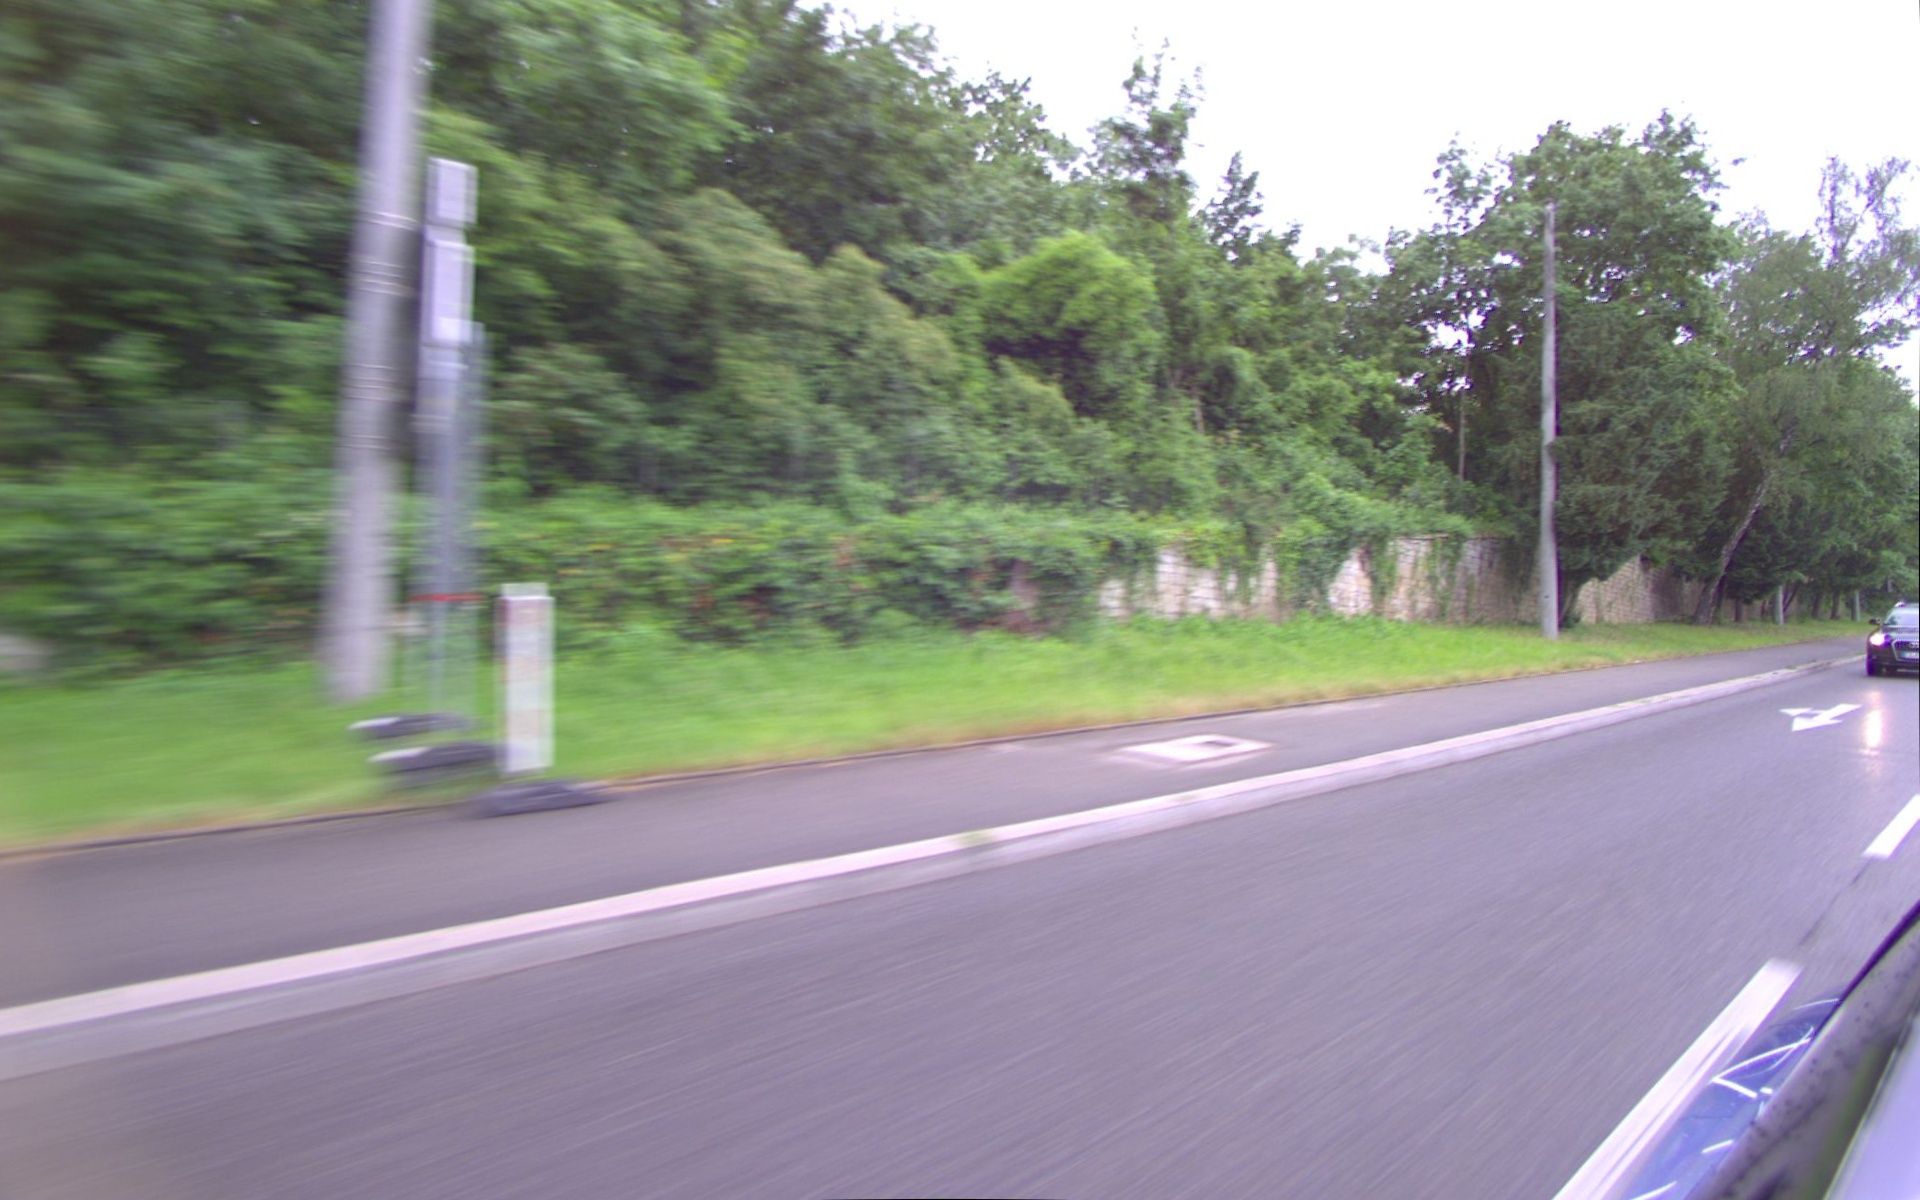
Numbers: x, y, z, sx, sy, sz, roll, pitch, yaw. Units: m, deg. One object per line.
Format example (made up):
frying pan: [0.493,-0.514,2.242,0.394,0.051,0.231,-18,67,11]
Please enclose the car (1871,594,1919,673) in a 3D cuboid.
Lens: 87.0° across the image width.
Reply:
car: [21.494,0.699,22.005,4.203,1.621,1.927,0,1,-40]
